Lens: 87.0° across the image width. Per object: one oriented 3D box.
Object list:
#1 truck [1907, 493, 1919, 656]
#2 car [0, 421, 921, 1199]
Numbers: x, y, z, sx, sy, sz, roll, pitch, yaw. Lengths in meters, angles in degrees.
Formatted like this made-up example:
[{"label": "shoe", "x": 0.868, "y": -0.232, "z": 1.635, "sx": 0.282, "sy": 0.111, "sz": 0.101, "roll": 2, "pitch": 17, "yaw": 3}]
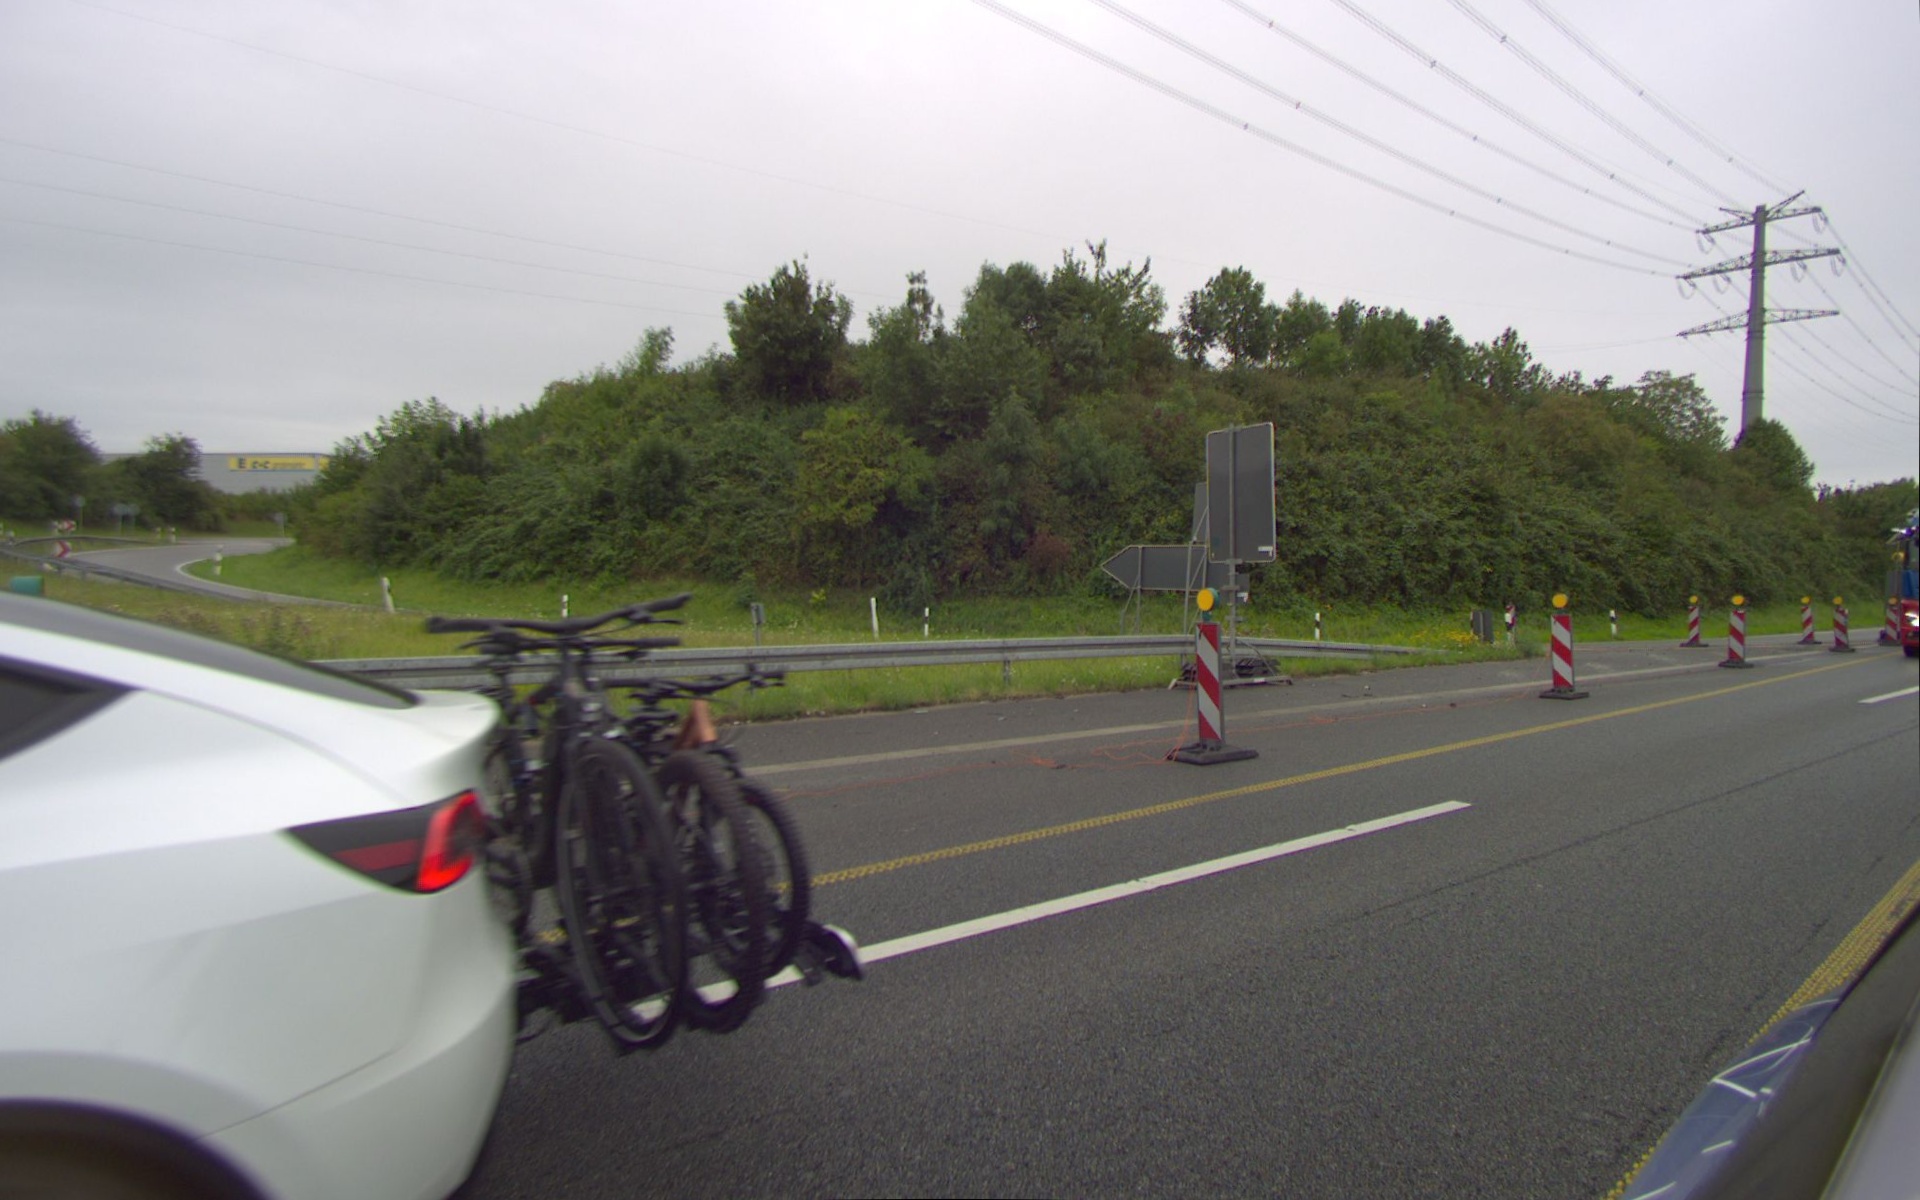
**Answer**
[{"label": "truck", "x": 25.614, "y": -0.647, "z": 25.054, "sx": 3.926, "sy": 3.996, "sz": 2.554, "roll": -1, "pitch": 0, "yaw": -37}, {"label": "car", "x": -2.916, "y": 0.574, "z": 1.309, "sx": 5.699, "sy": 1.616, "sz": 2.049, "roll": -1, "pitch": 0, "yaw": -40}]
